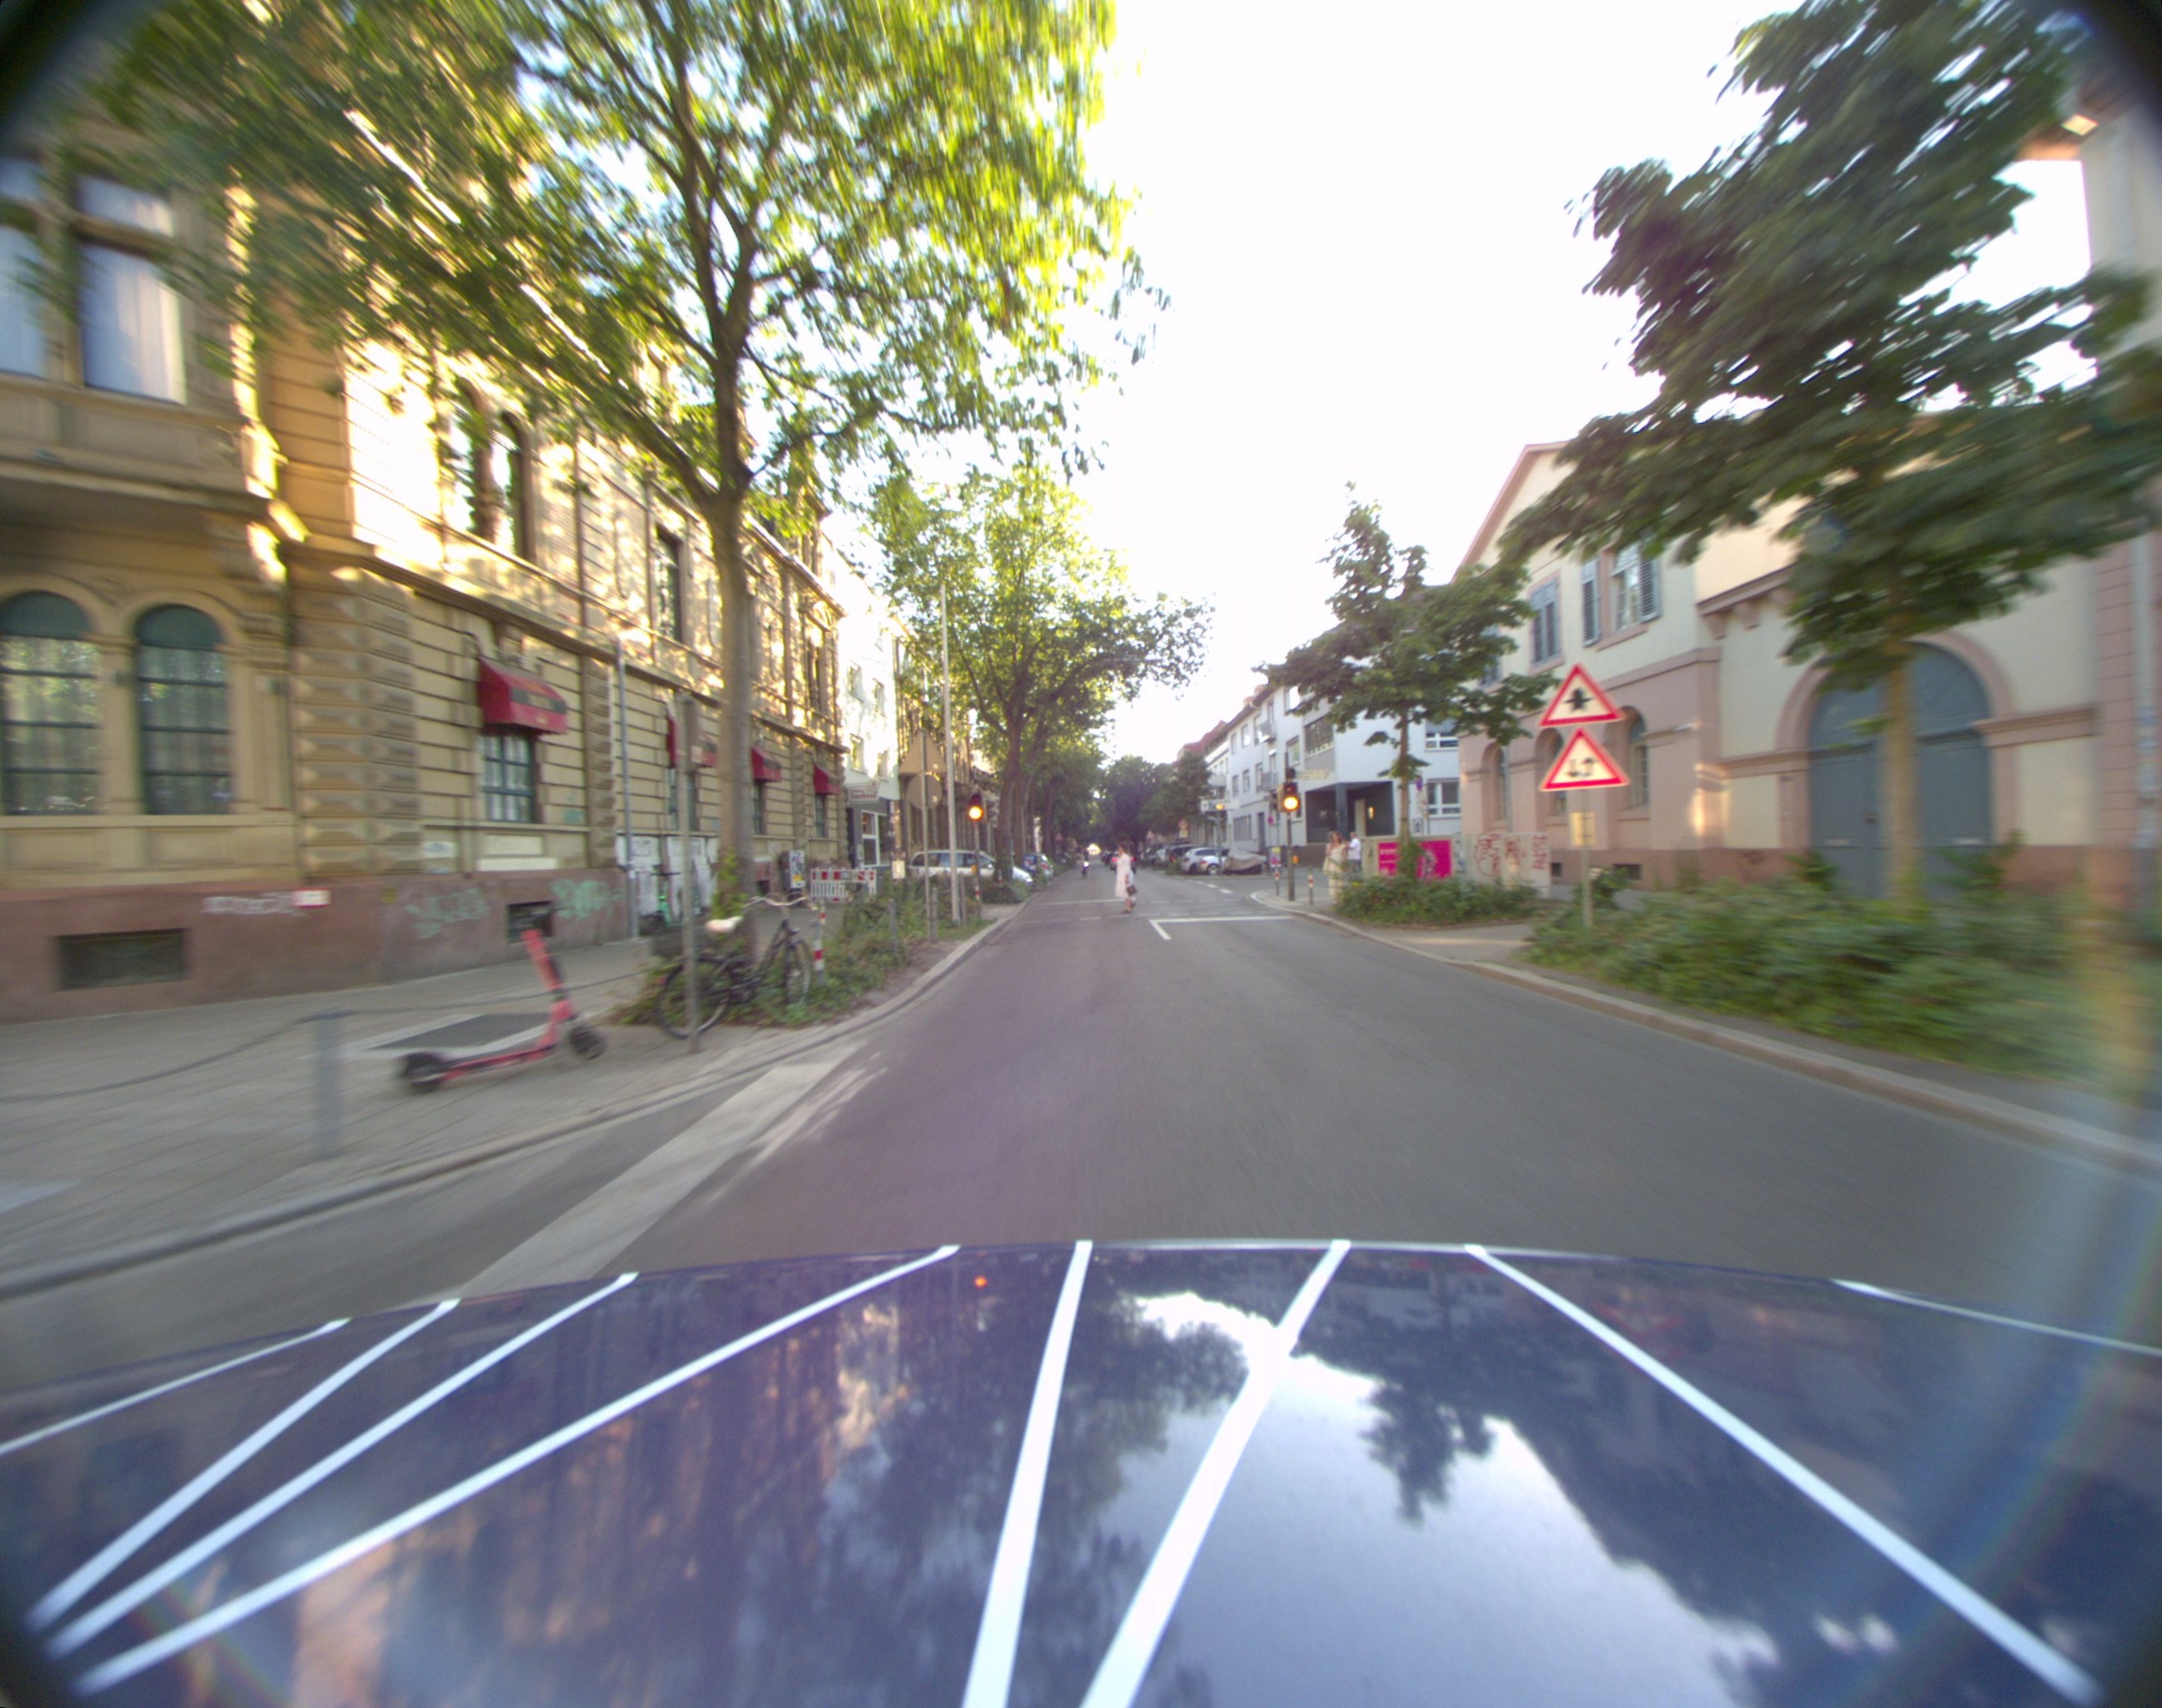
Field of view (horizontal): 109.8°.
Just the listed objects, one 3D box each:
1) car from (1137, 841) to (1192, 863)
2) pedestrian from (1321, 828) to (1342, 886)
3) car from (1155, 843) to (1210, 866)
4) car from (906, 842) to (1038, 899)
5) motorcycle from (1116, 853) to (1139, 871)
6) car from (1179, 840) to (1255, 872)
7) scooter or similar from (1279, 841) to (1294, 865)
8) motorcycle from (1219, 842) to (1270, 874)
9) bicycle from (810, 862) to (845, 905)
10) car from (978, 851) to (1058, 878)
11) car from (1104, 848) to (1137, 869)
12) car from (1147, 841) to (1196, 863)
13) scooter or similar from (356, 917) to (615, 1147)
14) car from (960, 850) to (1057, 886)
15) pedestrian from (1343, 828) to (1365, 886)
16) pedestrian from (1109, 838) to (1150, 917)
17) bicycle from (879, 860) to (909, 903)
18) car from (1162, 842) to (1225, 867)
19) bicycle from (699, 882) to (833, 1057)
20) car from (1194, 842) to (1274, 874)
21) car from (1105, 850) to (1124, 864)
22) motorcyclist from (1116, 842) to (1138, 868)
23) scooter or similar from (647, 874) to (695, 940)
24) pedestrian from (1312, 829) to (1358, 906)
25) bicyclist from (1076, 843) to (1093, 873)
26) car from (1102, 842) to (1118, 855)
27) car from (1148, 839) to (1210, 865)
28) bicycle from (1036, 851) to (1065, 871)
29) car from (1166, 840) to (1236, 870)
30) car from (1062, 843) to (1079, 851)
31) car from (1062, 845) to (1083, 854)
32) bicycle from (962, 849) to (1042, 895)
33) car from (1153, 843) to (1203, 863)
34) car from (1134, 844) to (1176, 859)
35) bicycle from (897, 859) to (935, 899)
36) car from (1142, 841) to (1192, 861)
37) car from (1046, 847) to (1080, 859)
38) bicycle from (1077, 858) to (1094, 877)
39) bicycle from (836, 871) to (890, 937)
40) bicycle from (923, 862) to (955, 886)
[{"bbox_3d":[8.085,-0.209,74.053,5.003,1.979,2.189,-2,0,-1],"label":"car"},{"bbox_3d":[8.111,0.098,24.640,0.555,1.840,0.612,-2,1,15],"label":"pedestrian"},{"bbox_3d":[7.811,0.029,58.795,4.038,1.485,1.780,-4,1,4],"label":"car"},{"bbox_3d":[-3.932,0.572,28.037,4.552,1.904,1.950,-1,1,-2],"label":"car"},{"bbox_3d":[2.958,0.508,48.484,1.315,1.084,2.396,-1,1,1],"label":"motorcycle"},{"bbox_3d":[7.344,0.112,41.211,3.751,1.450,1.735,-4,1,0],"label":"car"},{"bbox_3d":[11.505,-0.059,42.657,0.516,1.254,1.420,-3,2,5],"label":"scooter or similar"},{"bbox_3d":[7.645,0.175,35.560,2.150,1.411,0.969,-1,2,22],"label":"motorcycle"},{"bbox_3d":[-7.733,0.888,23.264,0.386,1.204,1.725,-2,1,3],"label":"bicycle"},{"bbox_3d":[-3.764,0.636,45.930,4.594,1.429,1.925,-2,1,3],"label":"car"},{"bbox_3d":[3.111,0.323,60.769,1.883,1.540,4.271,-2,1,-8],"label":"car"},{"bbox_3d":[8.141,-0.206,68.499,4.165,1.582,1.823,-5,1,1],"label":"car"},{"bbox_3d":[-3.981,1.114,5.144,1.276,1.236,0.505,-3,1,-42],"label":"scooter or similar"},{"bbox_3d":[-3.337,0.635,35.643,4.234,1.551,1.971,-1,0,4],"label":"car"},{"bbox_3d":[8.790,0.102,24.479,0.555,1.840,0.612,-2,1,14],"label":"pedestrian"},{"bbox_3d":[1.201,0.574,18.861,0.771,1.877,0.792,-2,1,-11],"label":"pedestrian"},{"bbox_3d":[-5.789,0.826,23.594,0.386,1.228,1.725,-2,1,3],"label":"bicycle"},{"bbox_3d":[7.844,0.044,53.075,4.085,1.432,1.755,-4,1,2],"label":"car"},{"bbox_3d":[-2.785,0.971,6.853,0.417,1.364,1.289,-1,1,12],"label":"bicycle"},{"bbox_3d":[7.689,0.200,38.437,3.748,1.303,1.844,-4,1,5],"label":"car"},{"bbox_3d":[3.678,0.308,84.415,1.881,1.540,4.274,1,1,1],"label":"car"},{"bbox_3d":[2.928,0.042,48.523,1.283,1.583,1.077,-2,1,1],"label":"motorcyclist"},{"bbox_3d":[-7.874,1.006,14.613,0.251,1.187,1.092,-2,0,2],"label":"scooter or similar"},{"bbox_3d":[6.134,0.322,18.313,0.791,1.780,0.772,-5,0,28],"label":"pedestrian"},{"bbox_3d":[0.203,0.217,42.287,0.753,1.612,1.147,-3,1,4],"label":"bicyclist"},{"bbox_3d":[3.932,-0.719,103.019,1.882,1.631,4.645,-1,1,0],"label":"car"},{"bbox_3d":[7.829,-0.180,61.200,4.677,1.755,2.156,-3,1,0],"label":"car"},{"bbox_3d":[-2.281,0.507,56.862,2.051,1.353,0.508,-4,1,-1],"label":"bicycle"},{"bbox_3d":[7.476,0.054,47.629,4.103,1.622,1.936,-3,1,2],"label":"car"},{"bbox_3d":[-2.357,-1.575,169.106,3.552,1.411,1.590,-5,0,1],"label":"car"},{"bbox_3d":[-1.471,-0.799,132.510,3.552,1.411,1.590,-5,0,-2],"label":"car"},{"bbox_3d":[-3.165,0.726,30.669,3.122,1.654,0.658,-3,1,-3],"label":"bicycle"},{"bbox_3d":[8.110,-0.081,63.834,3.855,1.442,1.855,-3,0,1],"label":"car"},{"bbox_3d":[8.424,-0.258,86.437,4.436,1.399,1.717,-4,2,-3],"label":"car"},{"bbox_3d":[-5.524,0.814,25.538,0.582,1.232,2.161,-2,1,5],"label":"bicycle"},{"bbox_3d":[8.085,-0.292,71.429,4.365,1.564,1.930,-5,1,1],"label":"car"},{"bbox_3d":[-2.525,-0.189,105.062,4.420,1.552,1.867,1,0,8],"label":"car"},{"bbox_3d":[0.247,0.751,42.372,0.778,0.967,2.024,-2,1,4],"label":"bicycle"},{"bbox_3d":[-4.413,0.971,15.523,0.525,1.145,2.248,-2,1,-3],"label":"bicycle"},{"bbox_3d":[-4.766,0.667,25.574,0.582,0.661,2.329,-3,1,1],"label":"bicycle"}]
